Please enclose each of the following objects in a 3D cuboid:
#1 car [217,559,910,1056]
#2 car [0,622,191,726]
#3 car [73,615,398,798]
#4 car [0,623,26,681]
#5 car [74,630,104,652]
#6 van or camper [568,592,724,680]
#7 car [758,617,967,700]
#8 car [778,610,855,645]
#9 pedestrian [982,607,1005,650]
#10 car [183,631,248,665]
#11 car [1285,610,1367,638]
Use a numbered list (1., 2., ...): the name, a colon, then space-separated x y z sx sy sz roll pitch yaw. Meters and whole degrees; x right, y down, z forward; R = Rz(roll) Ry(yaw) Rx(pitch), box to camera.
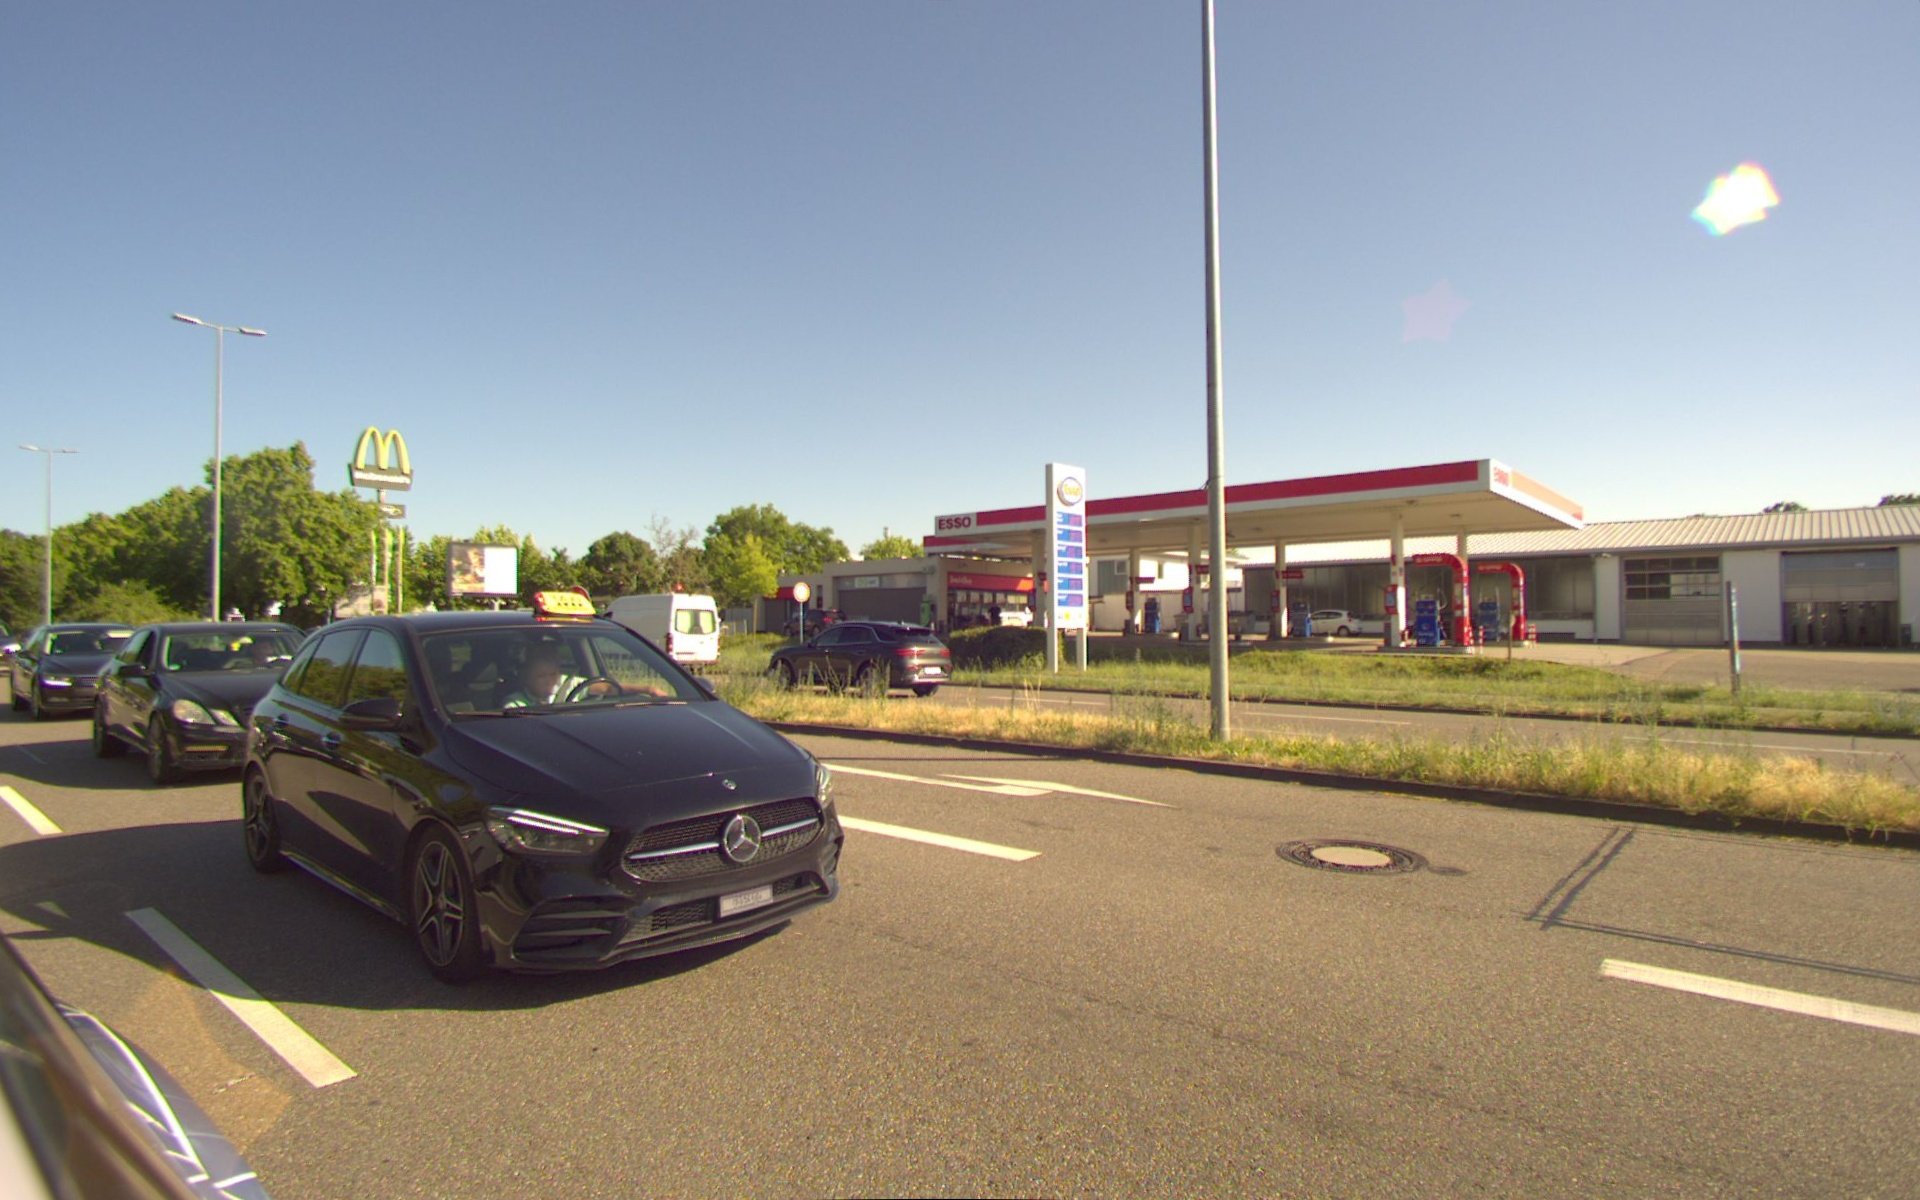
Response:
1. car: -2.376 0.736 5.422 4.187 1.638 1.780 -2 -2 42
2. car: -14.431 1.129 16.778 4.401 1.492 1.838 -2 -2 41
3. car: -7.752 0.951 10.659 4.401 1.535 1.838 -2 -2 41
4. car: -28.178 1.466 28.835 4.401 1.600 1.838 -2 -2 41
5. car: -85.895 4.028 99.793 1.970 2.029 4.003 -1 0 -44
6. van or camper: -10.492 1.208 33.543 5.952 2.671 1.973 -1 -4 40
7. car: -2.242 1.290 22.632 4.609 1.666 1.973 -2 -4 40
8. car: -7.837 1.492 55.042 4.117 1.783 1.972 -2 -1 43
9. pedestrian: 1.595 1.370 48.123 0.840 2.029 0.694 -2 -2 41
10. car: -40.062 2.555 54.427 4.433 1.703 1.860 -2 -2 41
11. car: 19.841 1.323 54.875 3.844 1.450 1.730 -2 -2 39
